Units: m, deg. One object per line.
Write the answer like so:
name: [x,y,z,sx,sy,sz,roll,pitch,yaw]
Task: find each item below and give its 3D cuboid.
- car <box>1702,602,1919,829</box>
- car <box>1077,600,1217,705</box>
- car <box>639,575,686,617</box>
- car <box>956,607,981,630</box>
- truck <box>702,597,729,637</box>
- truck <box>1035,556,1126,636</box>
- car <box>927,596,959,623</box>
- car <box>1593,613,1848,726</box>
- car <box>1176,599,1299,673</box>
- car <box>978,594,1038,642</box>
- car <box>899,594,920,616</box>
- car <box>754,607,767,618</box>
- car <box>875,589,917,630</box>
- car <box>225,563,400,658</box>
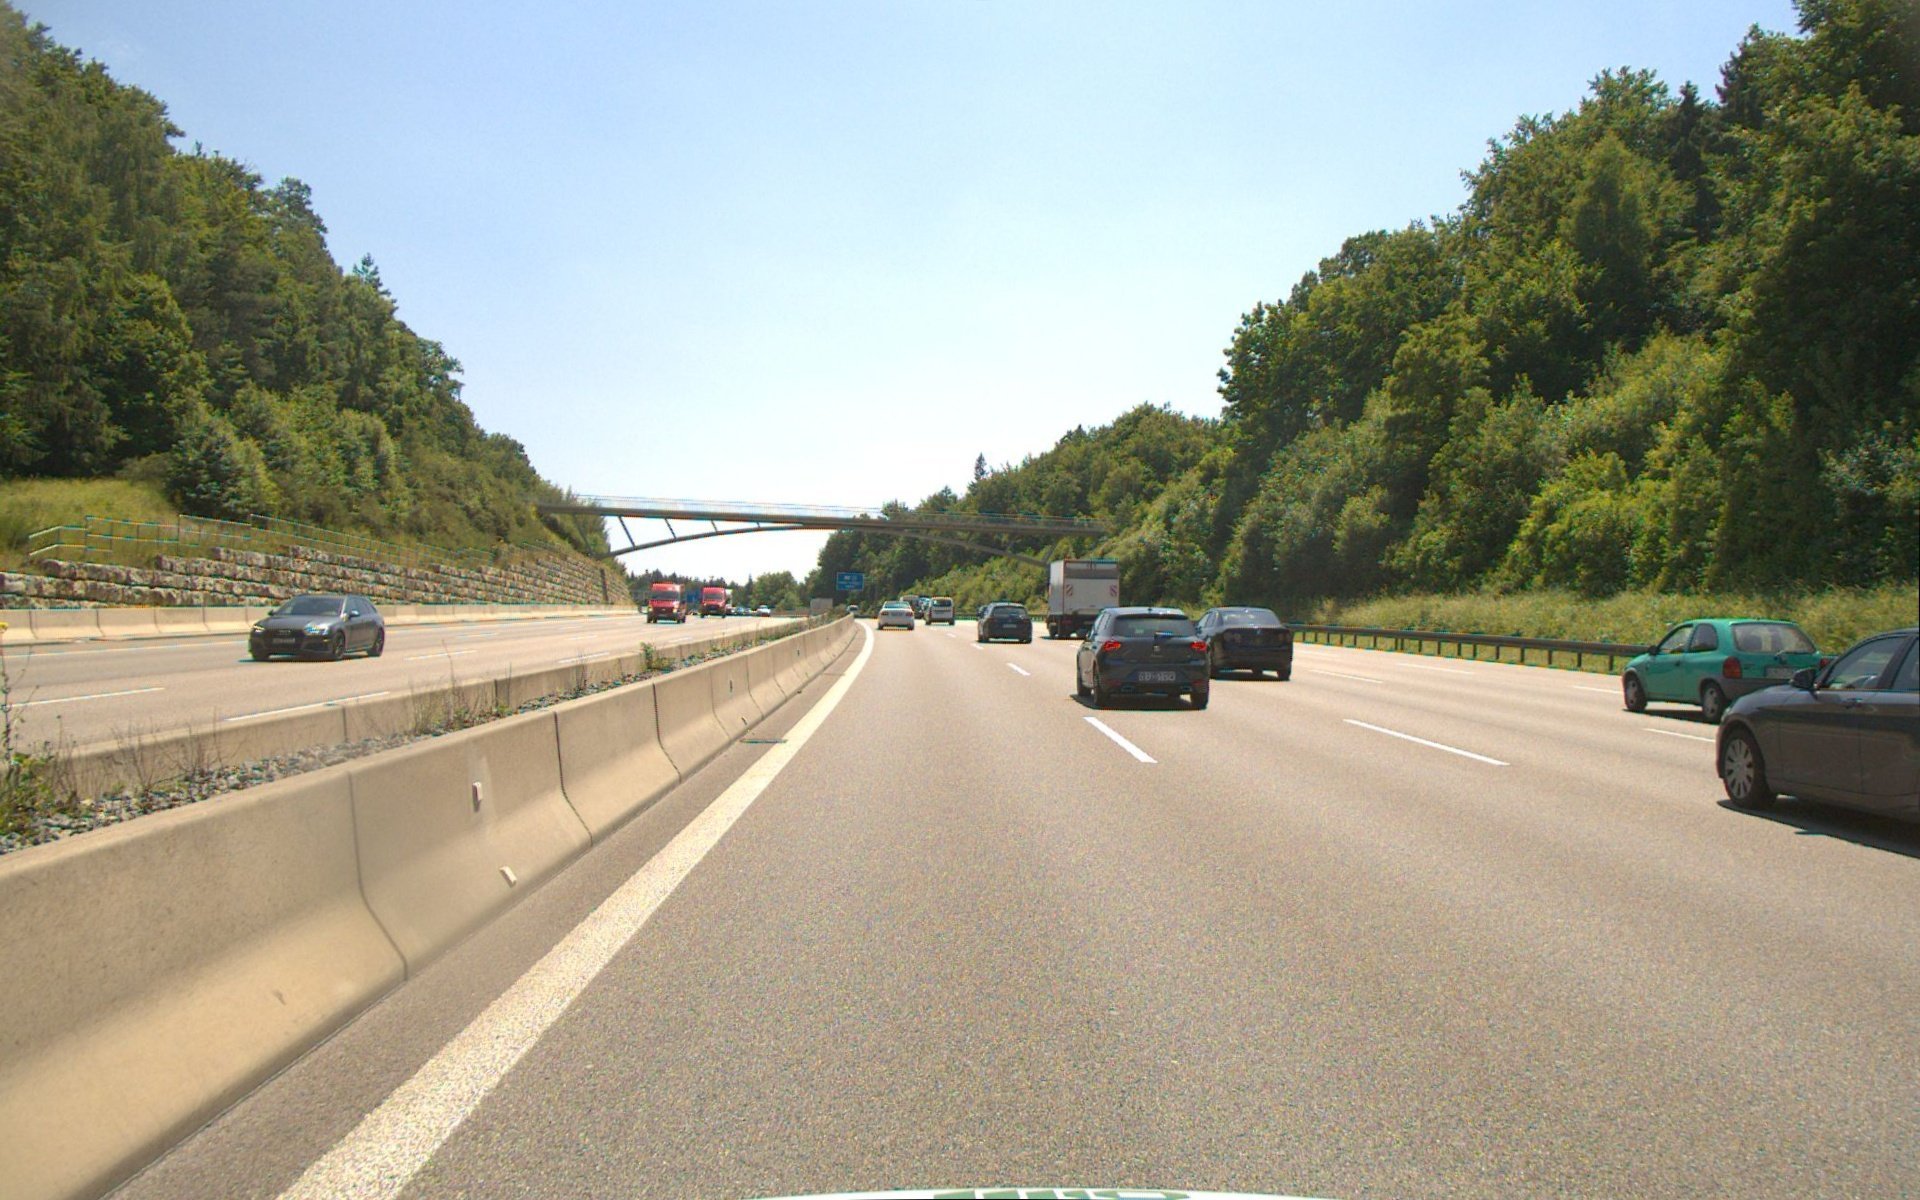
car: [6.807,0.733,11.149,1.668,1.420,4.152,1,0,-2]
car: [2.802,0.756,25.528,1.673,1.458,3.999,1,0,0]
car: [-17.547,-0.254,97.763,1.953,2.377,5.541,1,0,-2]
car: [0.757,1.613,148.539,2.102,1.890,3.999,2,1,-2]
truck: [-20.303,1.356,137.192,2.071,3.028,7.000,1,1,-9]
truck: [5.083,-0.163,71.125,2.926,3.222,7.569,1,0,-3]
car: [-1.147,0.620,110.608,2.061,1.775,4.686,1,0,-2]
car: [10.979,0.950,24.239,1.514,1.469,4.337,1,0,-4]
car: [5.828,0.724,35.271,1.632,1.433,4.901,1,0,-2]
car: [1.732,0.631,61.164,1.953,1.662,4.758,1,0,-2]
car: [-5.626,0.548,184.304,2.219,2.413,4.699,1,-1,-2]
car: [-30.371,1.926,251.354,1.864,1.522,4.799,1,0,-6]
car: [-3.339,0.514,85.670,1.973,1.878,3.995,1,-3,-4]
car: [-14.216,0.265,36.690,1.954,1.904,5.248,2,-1,-3]
